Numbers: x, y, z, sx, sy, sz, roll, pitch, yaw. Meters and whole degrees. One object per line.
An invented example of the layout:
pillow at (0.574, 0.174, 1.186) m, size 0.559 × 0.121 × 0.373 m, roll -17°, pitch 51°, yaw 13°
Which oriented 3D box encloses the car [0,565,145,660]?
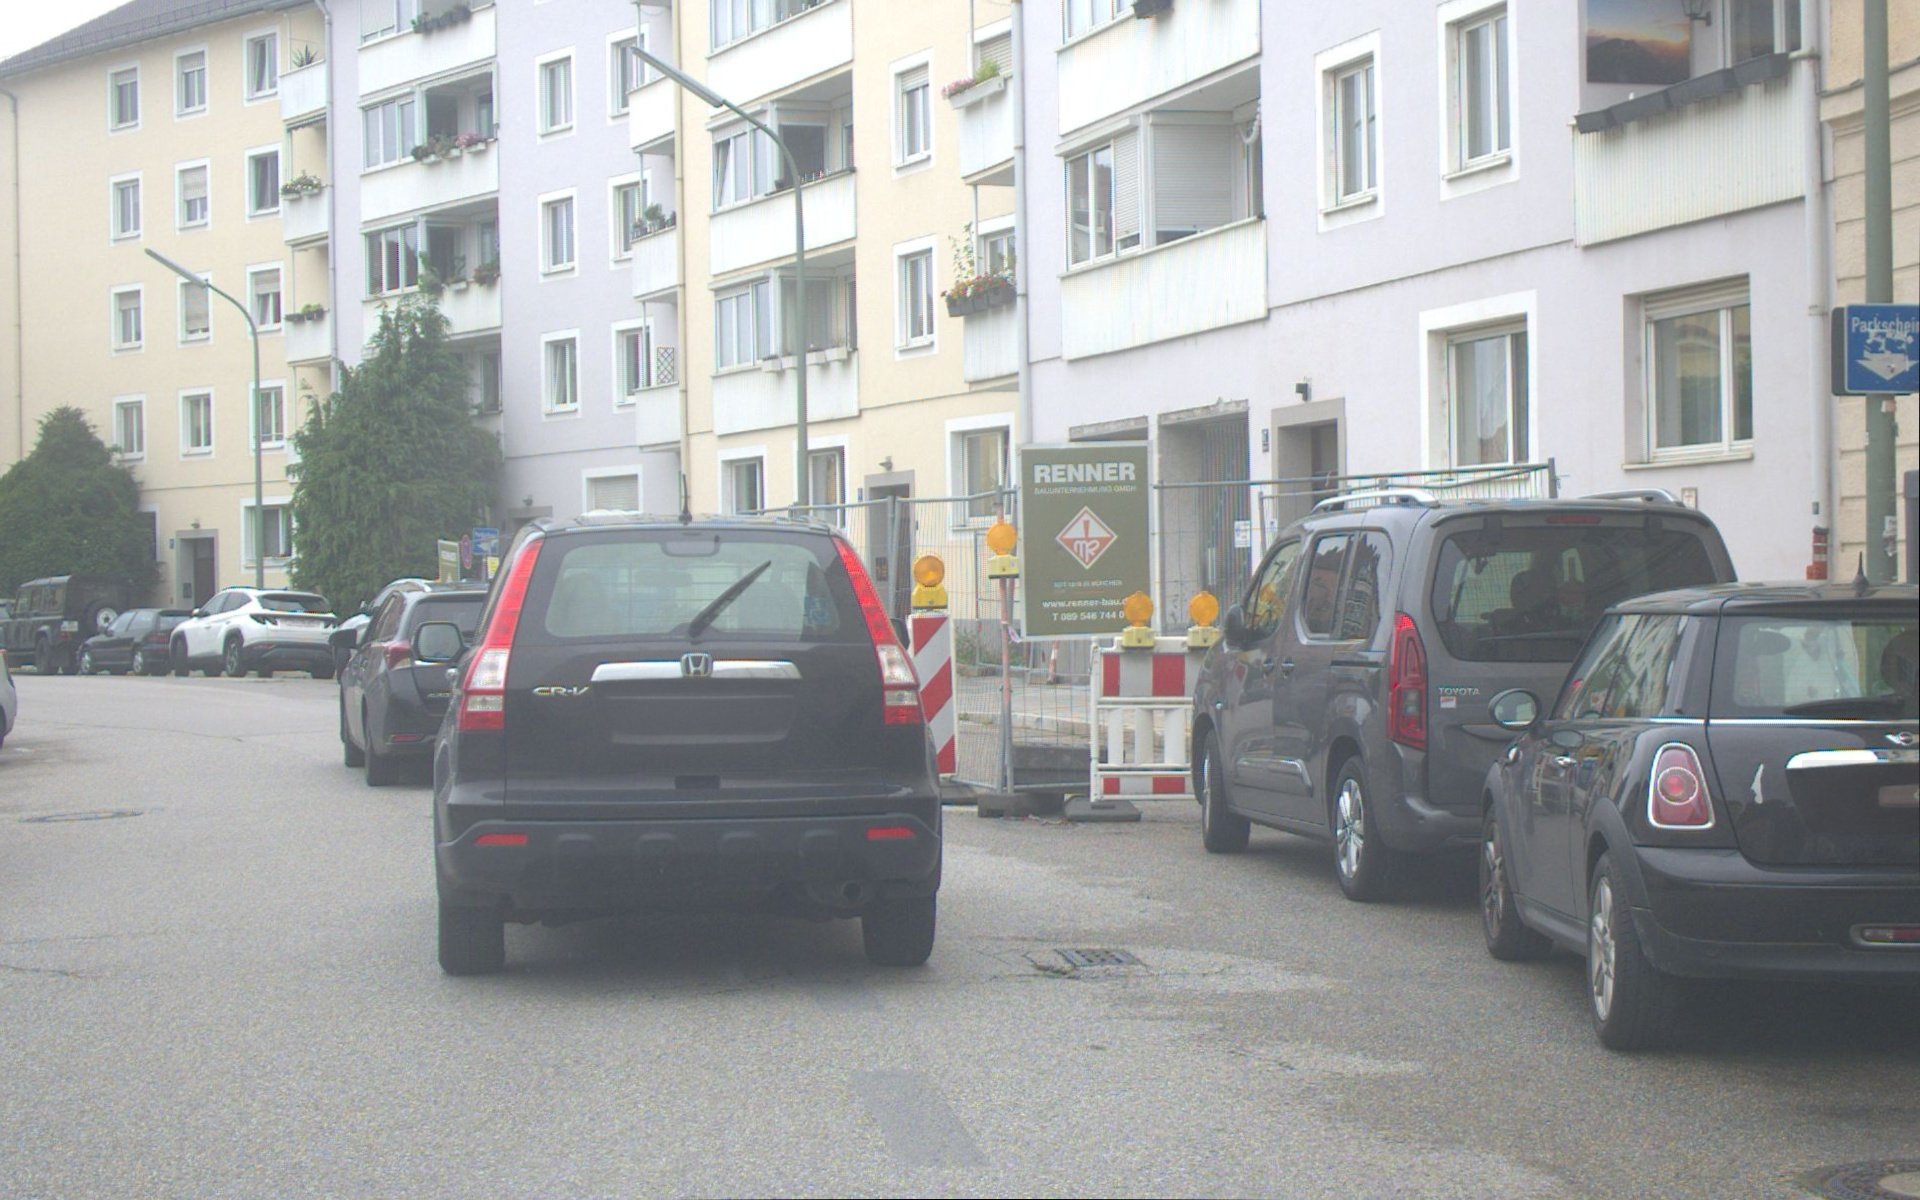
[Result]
car at (-18.147, 0.222, 70.005) m, size 1.724 × 1.871 × 4.000 m, roll 0°, pitch 1°, yaw -34°

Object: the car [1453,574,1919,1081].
car at (2.798, 0.644, 11.755) m, size 1.708 × 1.442 × 3.829 m, roll 1°, pitch 0°, yaw 1°

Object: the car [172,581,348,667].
car at (-12.688, 0.410, 62.156) m, size 1.724 × 1.478 × 4.000 m, roll 0°, pitch 1°, yaw -34°

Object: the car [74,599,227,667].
car at (-15.614, 0.612, 66.200) m, size 1.697 × 1.232 × 3.601 m, roll 0°, pitch 1°, yaw -34°

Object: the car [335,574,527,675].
car at (-8.229, 0.347, 53.237) m, size 1.724 × 1.478 × 4.000 m, roll 0°, pitch 1°, yaw -28°

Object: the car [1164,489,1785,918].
car at (2.316, 0.424, 16.678) m, size 1.777 × 1.800 × 4.277 m, roll 1°, pitch 0°, yaw -9°

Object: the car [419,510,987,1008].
car at (-1.121, 0.514, 13.530) m, size 1.890 × 1.642 × 3.992 m, roll -1°, pitch 0°, yaw -8°

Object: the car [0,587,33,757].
car at (-10.155, 0.782, 29.214) m, size 1.683 × 1.476 × 4.078 m, roll -5°, pitch 0°, yaw 39°

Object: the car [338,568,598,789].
car at (-3.715, 0.519, 25.455) m, size 1.678 × 1.476 × 4.087 m, roll -1°, pitch 0°, yaw -11°
